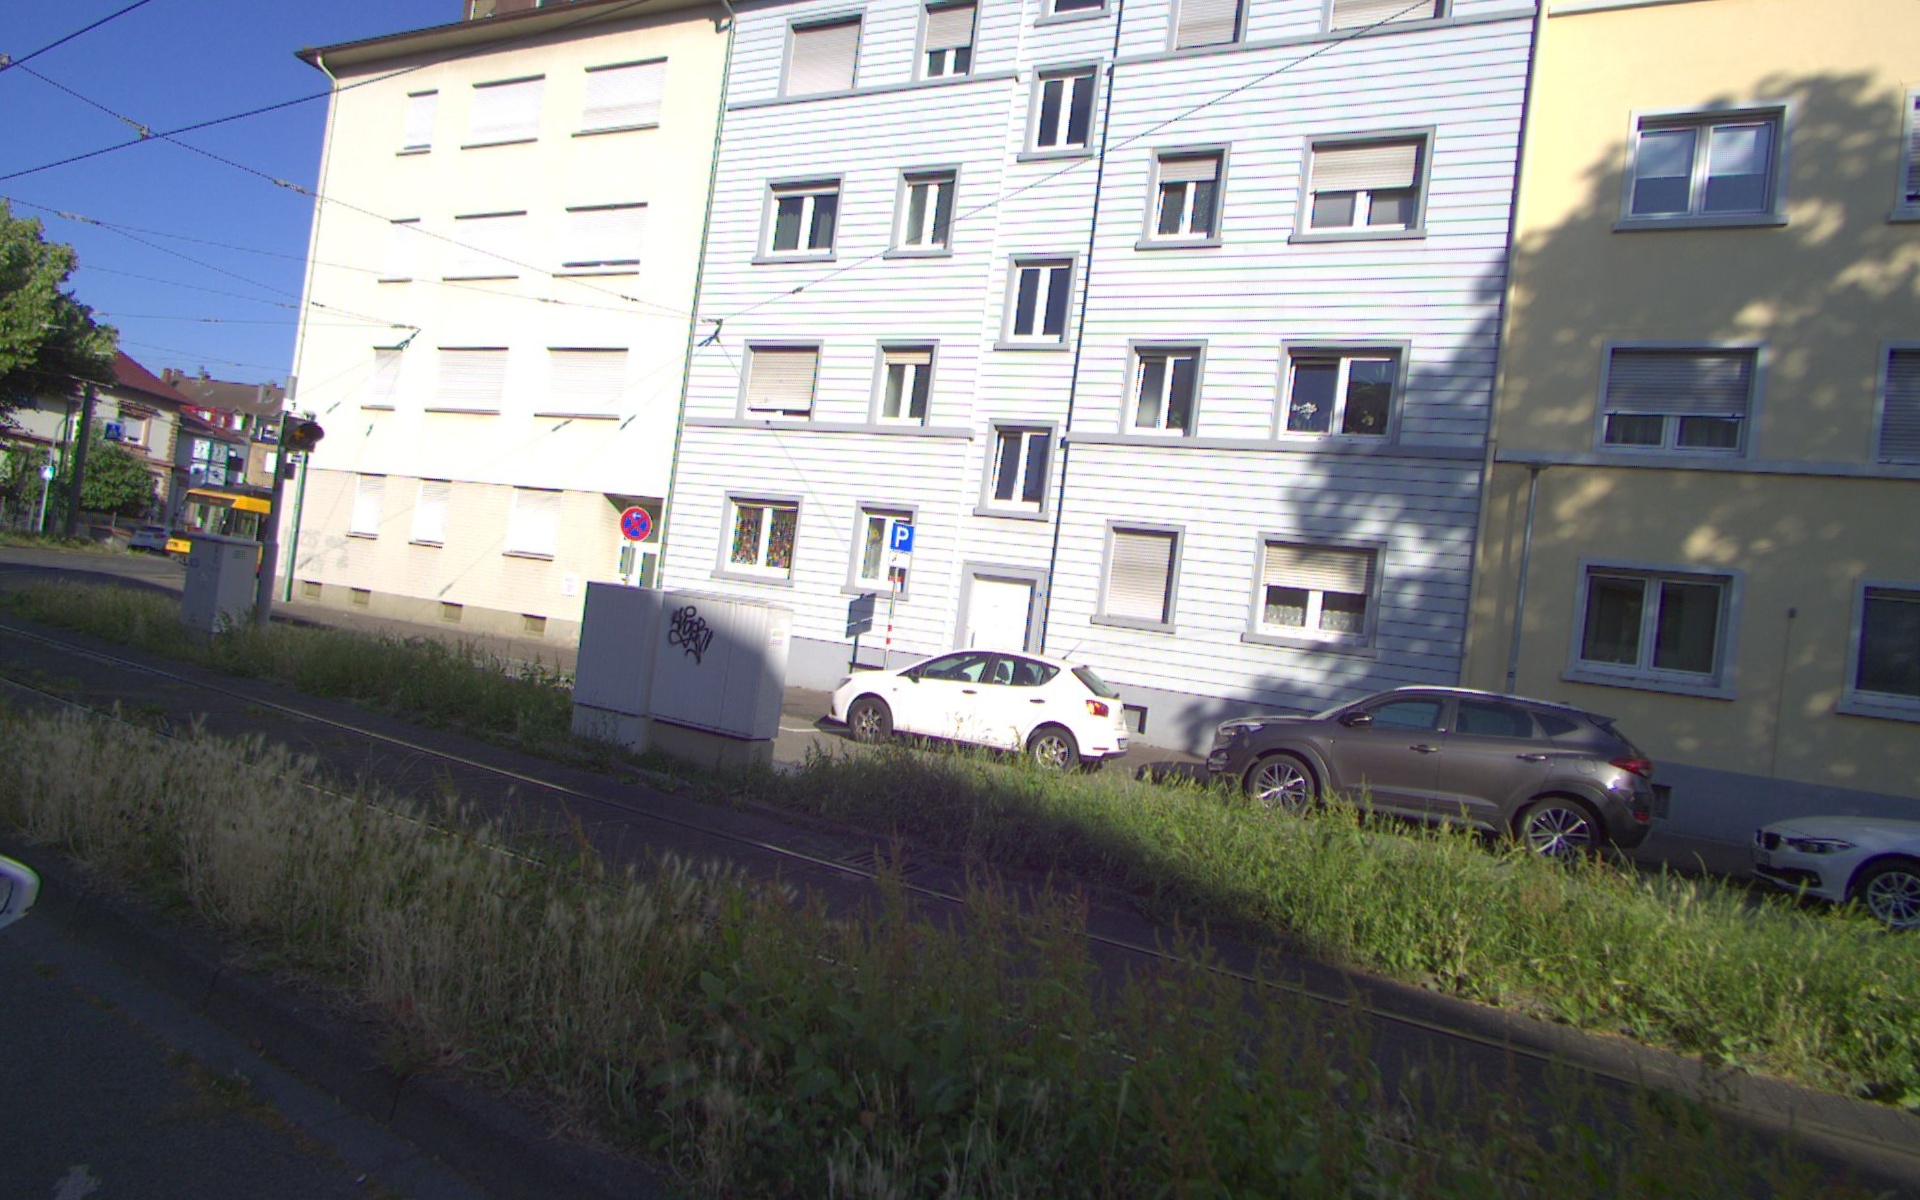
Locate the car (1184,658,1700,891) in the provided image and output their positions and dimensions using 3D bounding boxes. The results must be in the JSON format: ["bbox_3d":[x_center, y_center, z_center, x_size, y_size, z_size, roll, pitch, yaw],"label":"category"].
[{"bbox_3d":[5.006,1.726,11.060,4.557,1.591,2.000,6,-1,23],"label":"car"}]

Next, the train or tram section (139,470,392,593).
[{"bbox_3d":[-27.797,-2.500,41.178,2.732,3.596,9.929,7,-2,3],"label":"train or tram section"}]

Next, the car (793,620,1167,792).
[{"bbox_3d":[0.297,1.293,13.146,4.363,1.403,2.001,8,-1,20],"label":"car"}]

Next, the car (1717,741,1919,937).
[{"bbox_3d":[9.746,2.375,8.905,4.365,1.403,2.000,7,-1,23],"label":"car"}]

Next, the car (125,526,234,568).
[{"bbox_3d":[-38.146,-2.577,49.282,1.927,1.523,3.688,7,-1,14],"label":"car"}]
